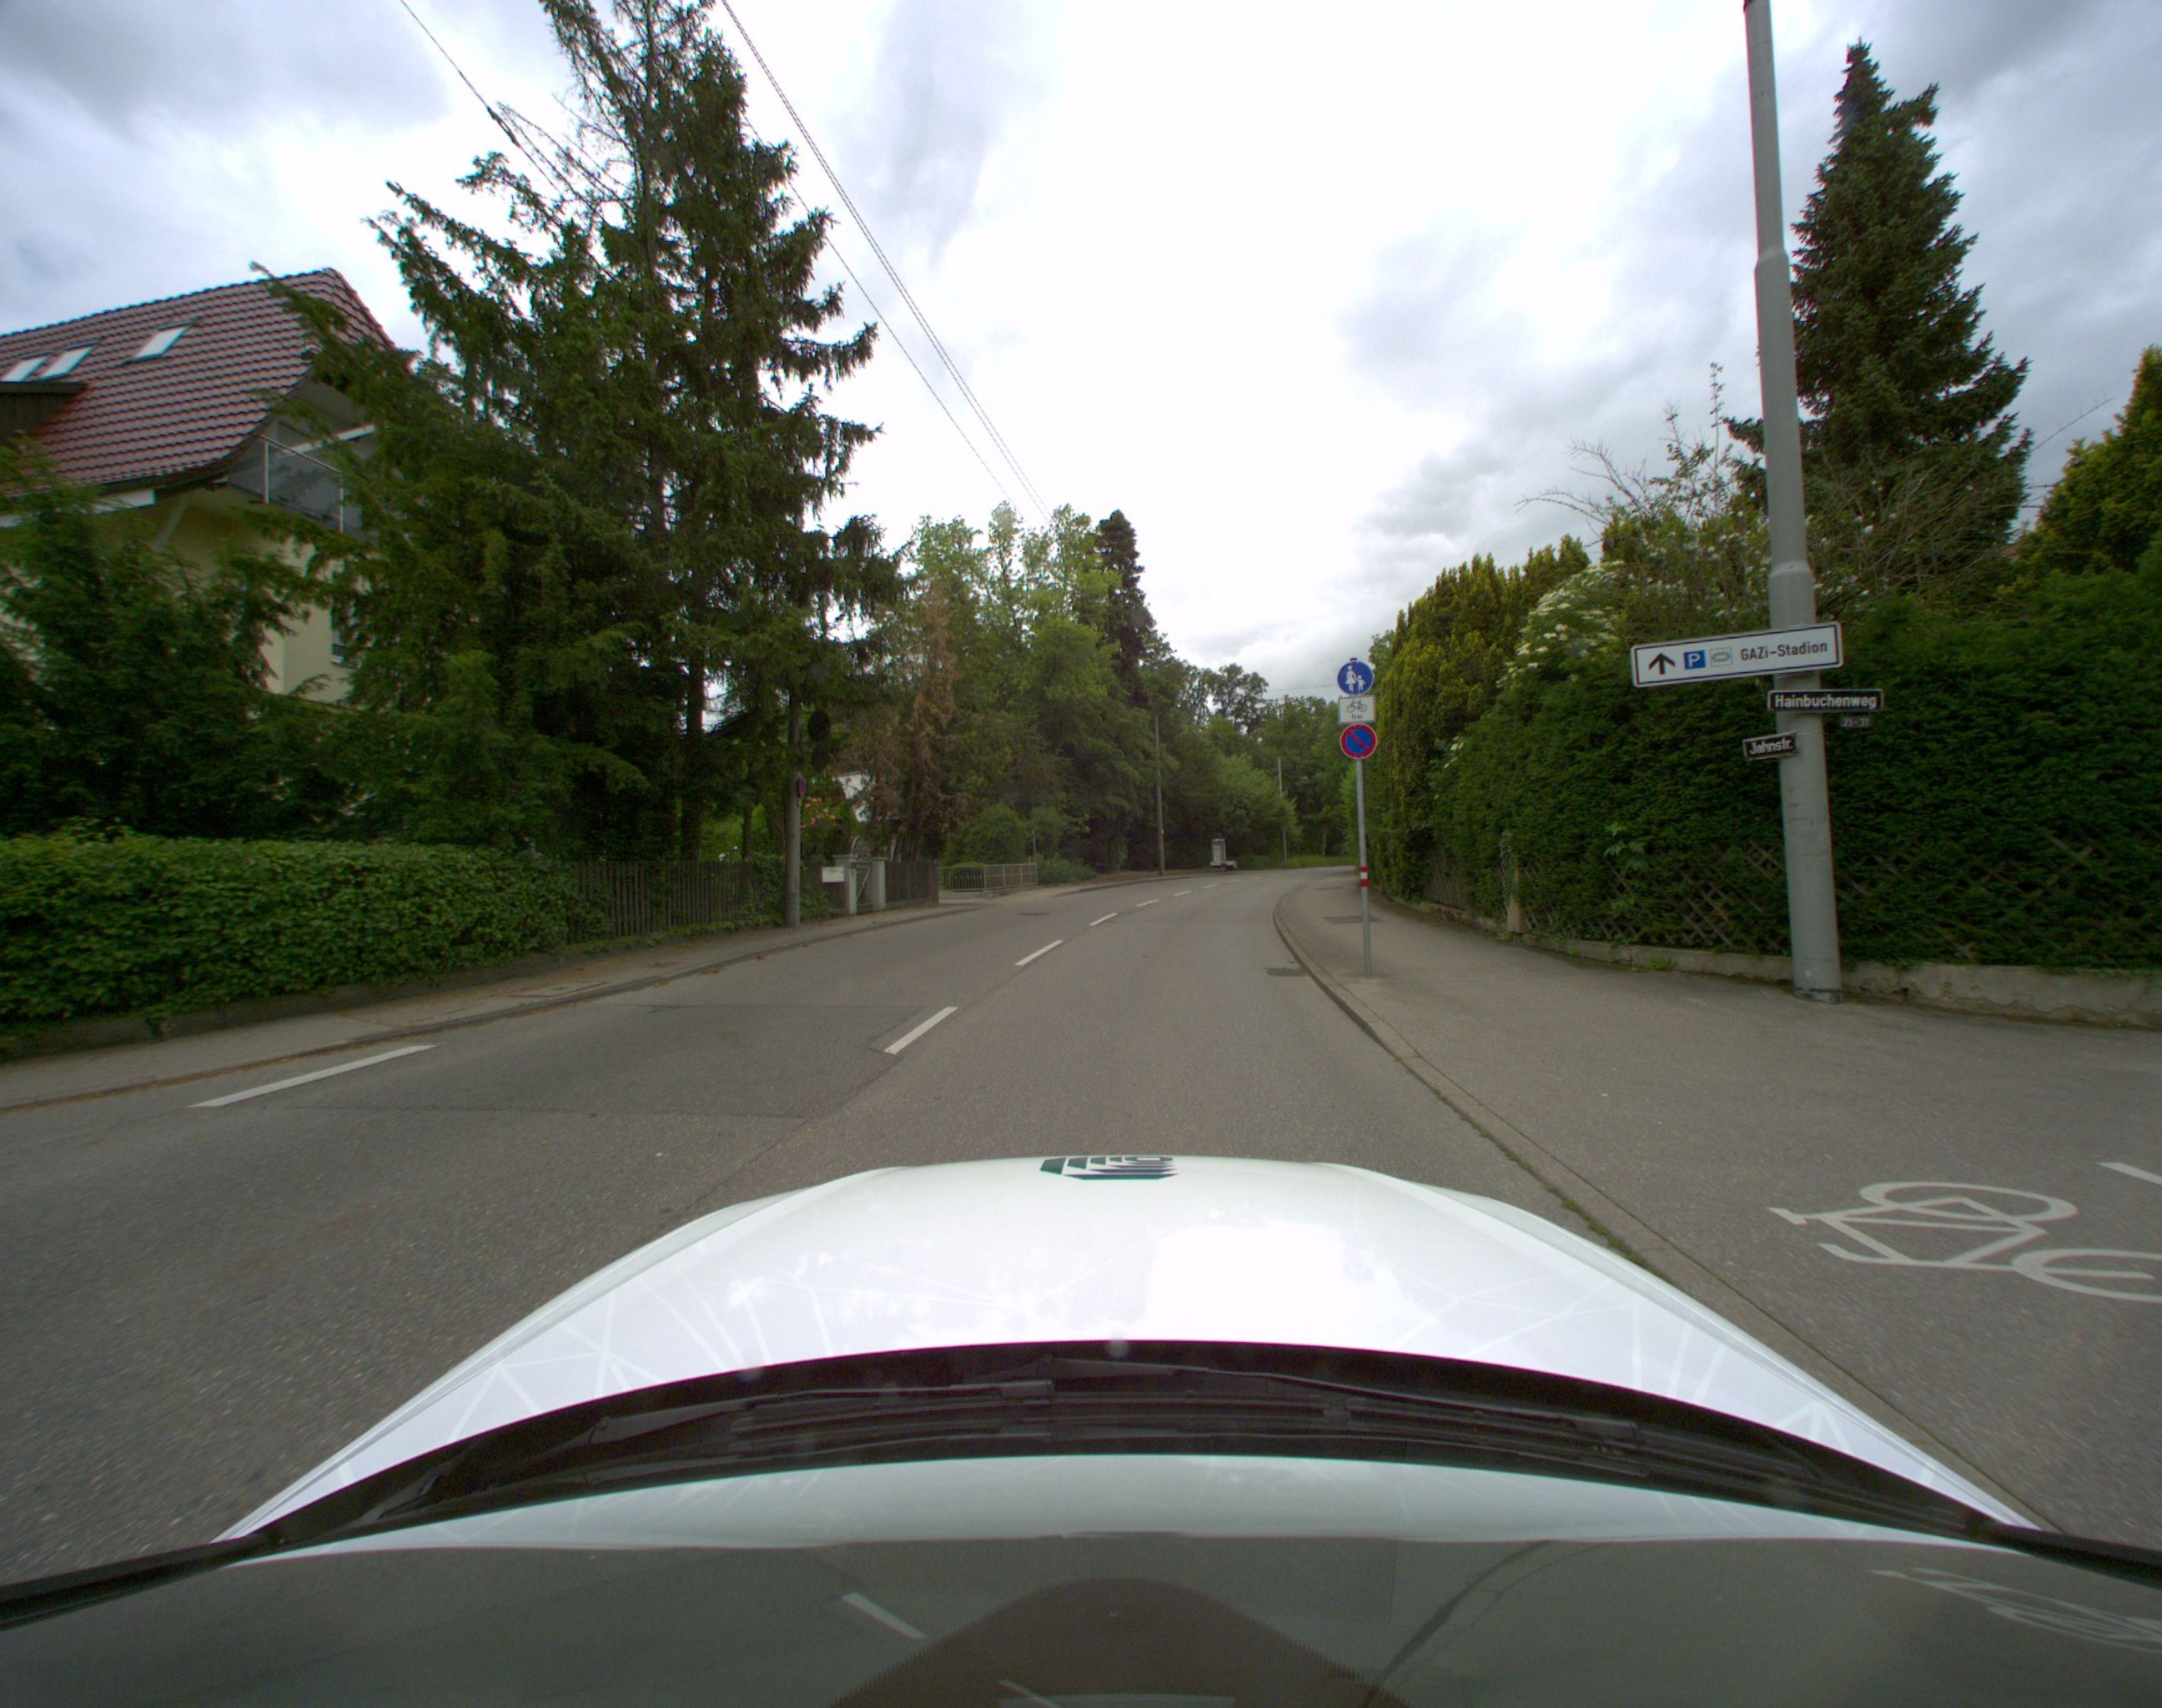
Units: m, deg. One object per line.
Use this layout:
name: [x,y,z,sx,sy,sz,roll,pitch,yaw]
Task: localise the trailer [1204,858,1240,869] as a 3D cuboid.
trailer: [12.165,0.821,70.380,2.933,0.829,1.481,-2,-1,14]
